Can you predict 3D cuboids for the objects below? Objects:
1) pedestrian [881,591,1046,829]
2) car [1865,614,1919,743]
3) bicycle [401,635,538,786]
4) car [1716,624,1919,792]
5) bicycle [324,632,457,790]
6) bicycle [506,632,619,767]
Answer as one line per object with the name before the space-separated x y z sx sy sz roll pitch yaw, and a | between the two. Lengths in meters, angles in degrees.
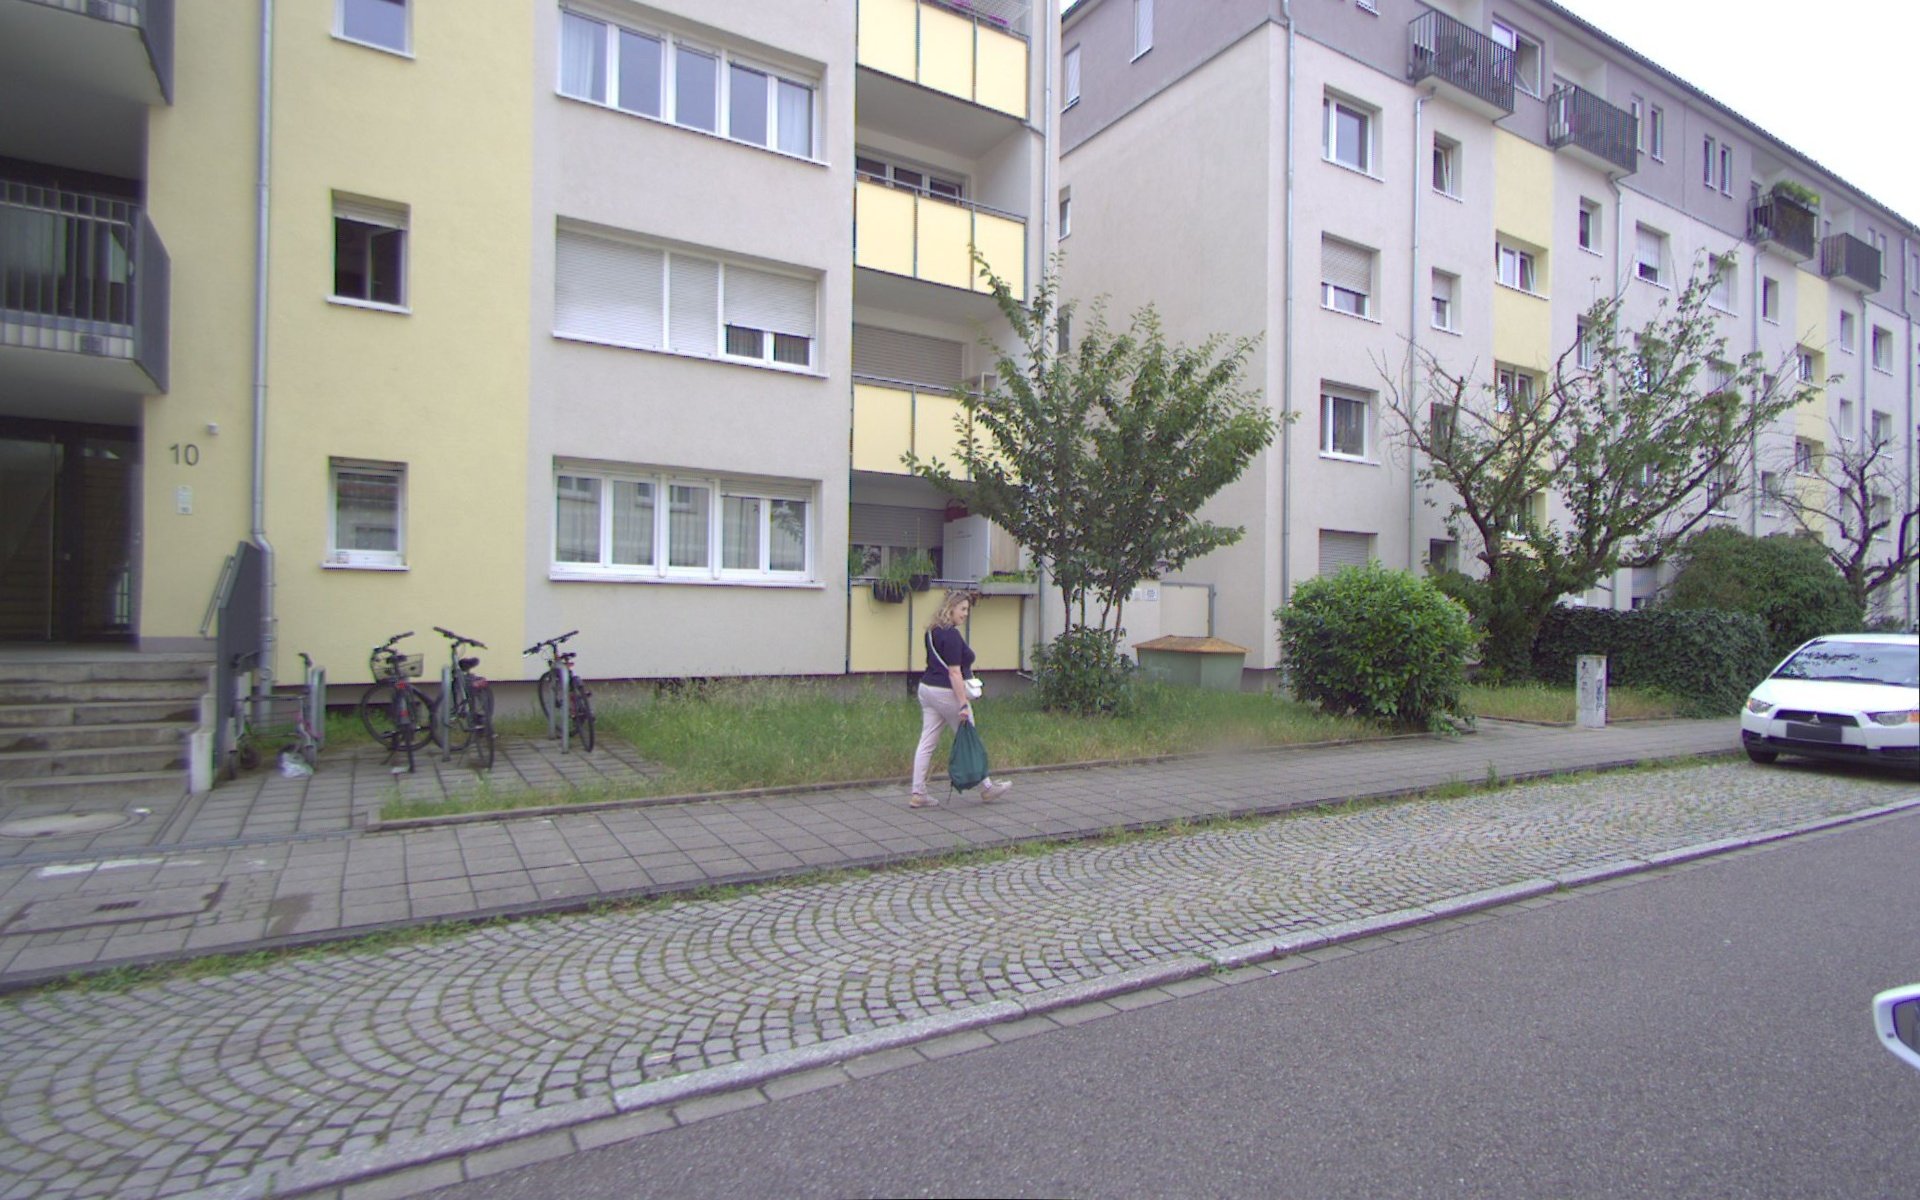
pedestrian | 0.023 0.767 7.487 0.937 1.631 0.794 1 -1 -35
car | 15.447 1.148 14.929 4.316 1.794 1.945 1 0 -34
bicycle | -4.406 0.909 8.951 0.618 1.156 2.005 1 -1 -40
car | 10.672 1.130 11.664 3.826 1.591 1.711 1 1 -31
bicycle | -4.868 0.864 8.522 0.618 1.156 2.006 1 -1 -40
bicycle | -3.934 0.908 9.857 0.617 1.156 2.010 1 -1 -33
